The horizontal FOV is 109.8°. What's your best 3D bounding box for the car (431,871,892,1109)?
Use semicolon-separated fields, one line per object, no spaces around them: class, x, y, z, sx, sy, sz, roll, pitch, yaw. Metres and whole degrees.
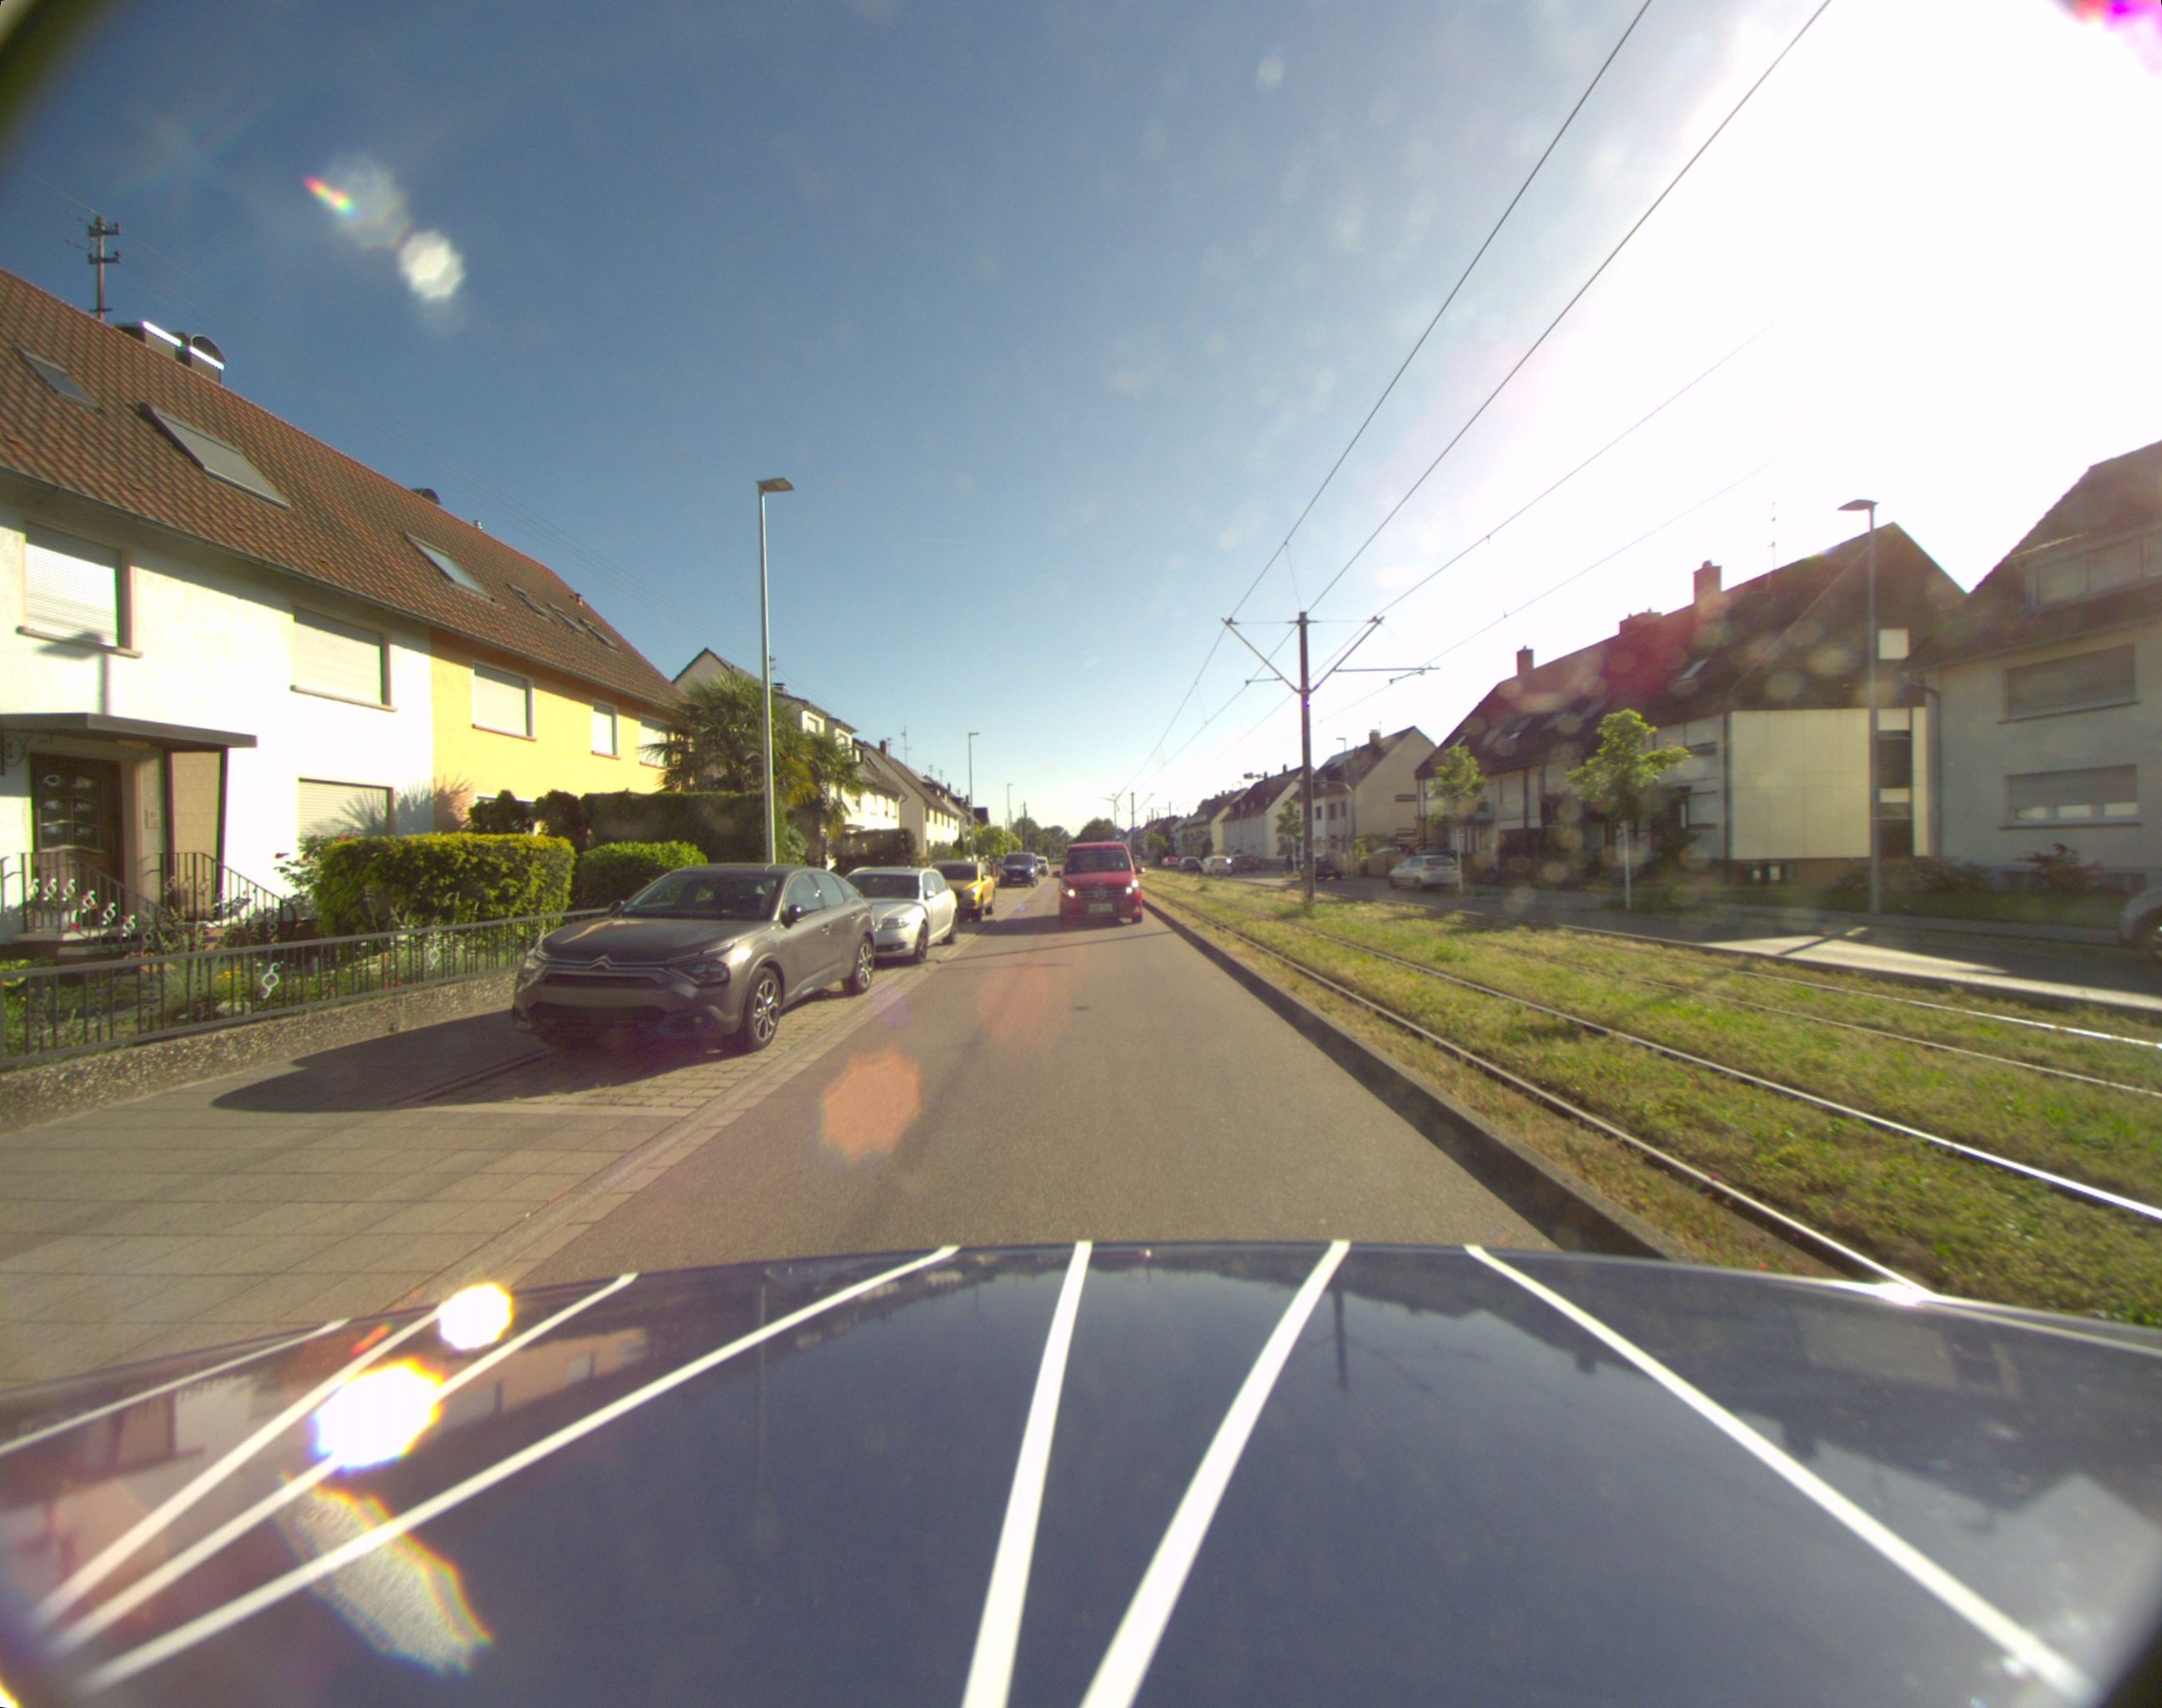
car;-3.421;0.976;7.486;1.782;1.490;4.728;-1;0;2

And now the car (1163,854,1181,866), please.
car;12.208;0.774;102.376;1.832;1.522;4.092;-3;1;-1

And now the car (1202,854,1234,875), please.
car;10.178;0.754;56.658;1.693;1.467;3.679;0;0;-1

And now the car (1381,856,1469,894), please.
car;14.022;0.806;31.224;1.662;1.428;4.103;-2;0;-1

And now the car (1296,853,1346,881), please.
car;13.784;0.708;43.885;1.623;1.503;4.085;-2;0;1

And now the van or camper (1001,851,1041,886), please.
van or camper;-3.330;0.753;43.036;1.954;1.836;5.581;0;0;-1

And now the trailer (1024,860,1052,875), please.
trailer;-3.746;1.150;65.984;2.278;1.124;6.434;1;0;-4

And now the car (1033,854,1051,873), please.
car;-3.923;0.912;76.349;1.796;1.752;4.583;1;0;-3

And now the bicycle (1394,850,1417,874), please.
bicycle;16.085;0.384;37.720;0.478;1.156;1.872;-3;1;6

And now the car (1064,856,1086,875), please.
car;-0.577;1.031;70.291;1.862;1.592;4.327;1;0;-3

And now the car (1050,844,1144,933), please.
car;0.312;0.734;19.281;1.999;1.889;5.389;-2;0;-1

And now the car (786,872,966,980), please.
car;-3.186;1.055;12.832;1.752;1.438;4.699;0;-1;0

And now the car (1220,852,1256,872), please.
car;13.488;0.644;65.366;1.926;1.551;4.857;-3;0;-1

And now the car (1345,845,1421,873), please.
car;20.605;0.370;52.013;4.403;1.773;1.970;-1;0;0

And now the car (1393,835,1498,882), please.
car;19.009;0.229;39.751;4.472;2.068;1.787;-4;1;1

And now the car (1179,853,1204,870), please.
car;10.334;0.702;71.257;1.693;1.467;4.082;-3;1;-1

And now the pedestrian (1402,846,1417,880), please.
pedestrian;16.769;0.451;38.761;0.552;1.678;0.624;-2;1;15

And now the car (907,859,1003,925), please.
car;-3.331;0.960;21.065;1.810;1.550;4.926;0;0;0

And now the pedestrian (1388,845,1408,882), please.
pedestrian;15.752;0.448;37.781;0.617;1.805;0.678;-3;1;-9

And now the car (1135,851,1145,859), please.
car;12.478;0.179;161.602;1.704;1.455;4.092;-3;1;-1

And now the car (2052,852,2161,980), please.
car;13.869;0.757;8.015;1.693;1.464;4.314;-3;1;-1
